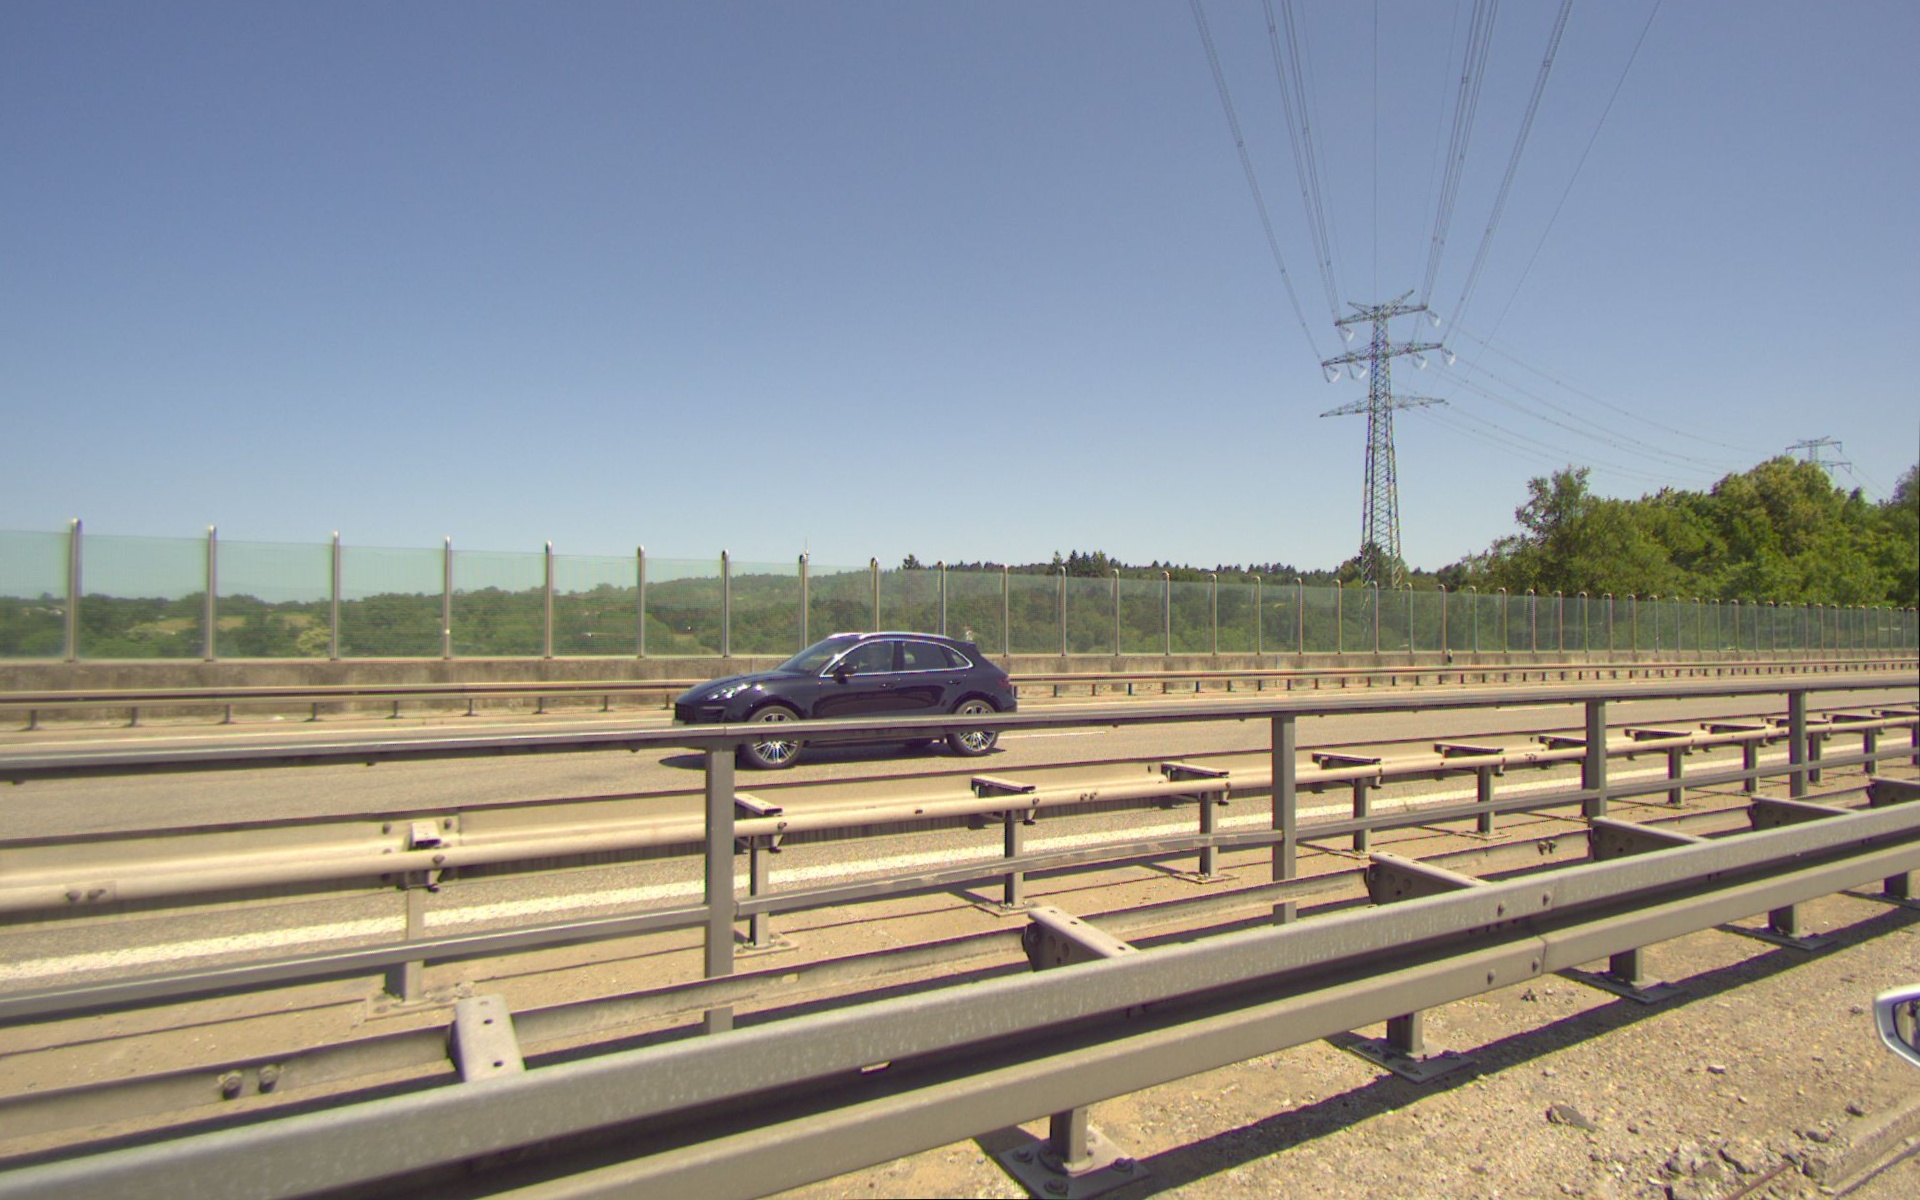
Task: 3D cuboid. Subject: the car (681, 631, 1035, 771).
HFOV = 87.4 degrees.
[{"bbox_3d":[-1.288,1.244,13.297,4.336,1.589,1.772,2,-3,-31],"label":"car"}]
